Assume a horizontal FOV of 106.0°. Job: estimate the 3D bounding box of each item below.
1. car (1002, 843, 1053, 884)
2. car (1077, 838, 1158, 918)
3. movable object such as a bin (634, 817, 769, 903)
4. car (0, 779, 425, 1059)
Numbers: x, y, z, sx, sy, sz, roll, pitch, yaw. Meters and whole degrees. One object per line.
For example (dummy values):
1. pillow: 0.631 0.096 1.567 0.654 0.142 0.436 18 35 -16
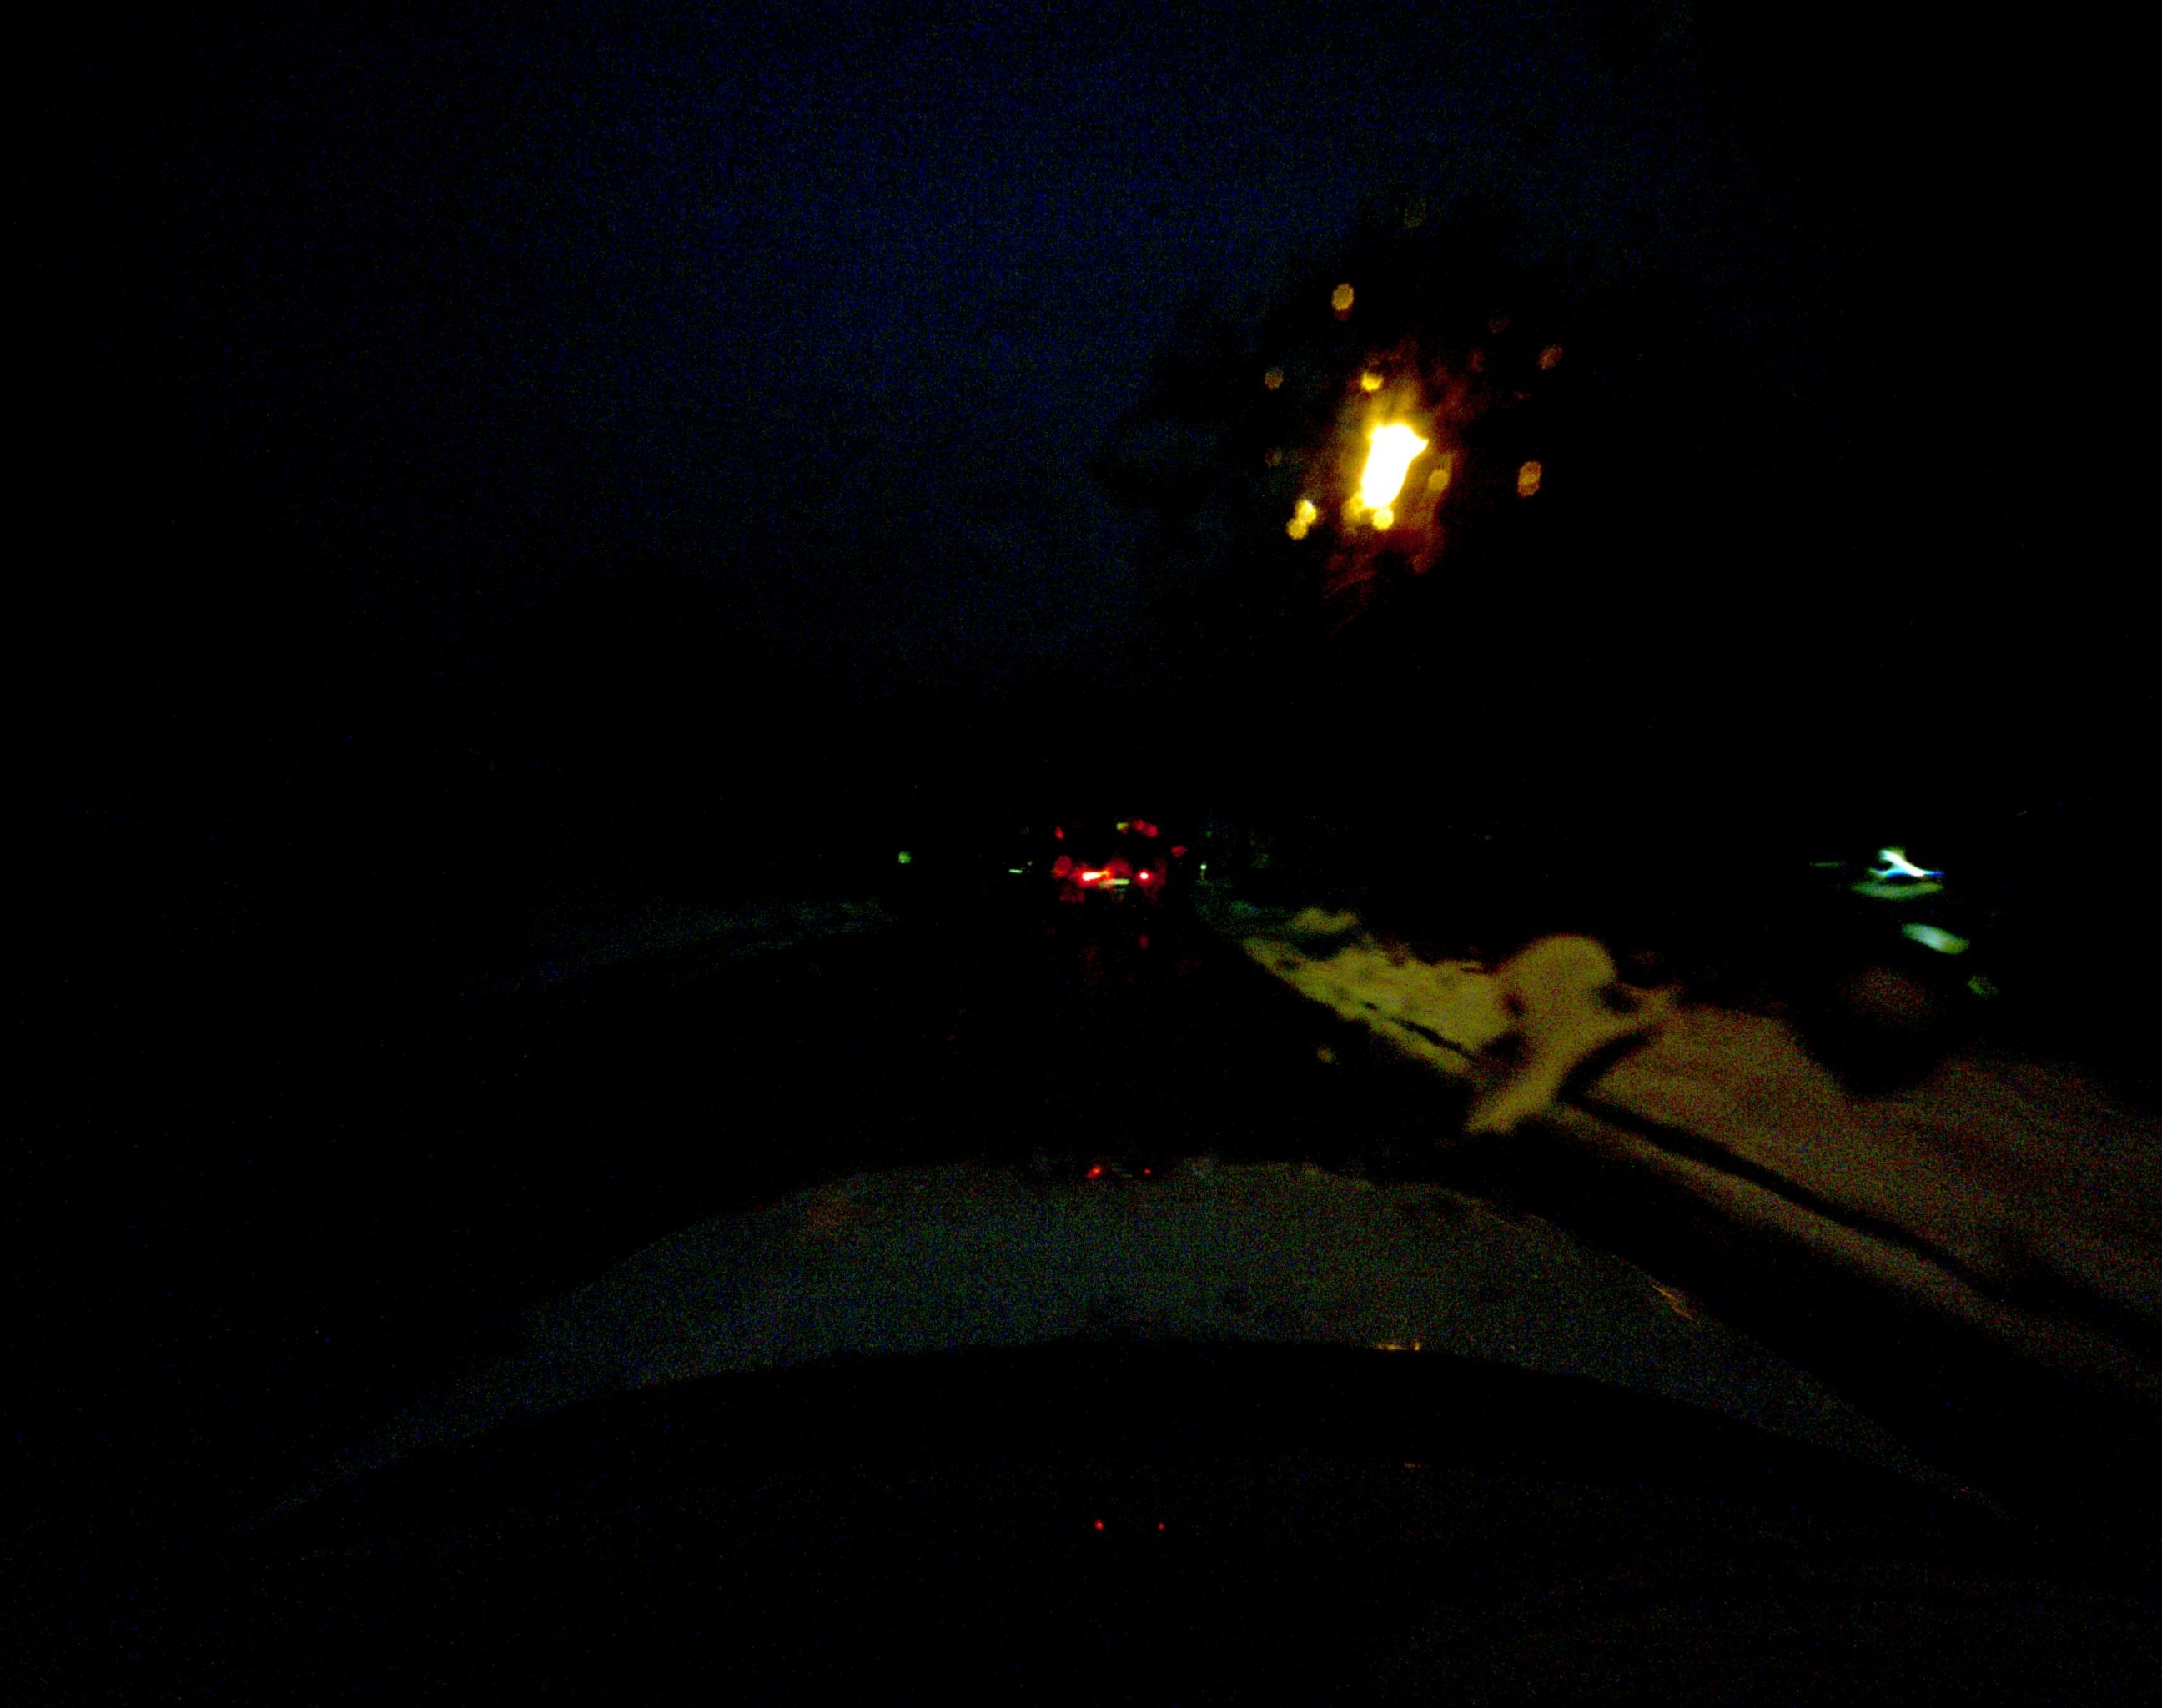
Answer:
1. car: -2.326 0.378 36.040 1.710 1.534 3.523 0 3 5
2. car: 0.908 0.570 21.186 1.816 1.796 3.578 -4 0 1
3. movable object such as a bin: -8.351 0.092 17.941 2.343 1.648 1.449 5 2 25
4. car: -9.205 0.492 7.009 5.242 2.014 2.214 0 -2 0
